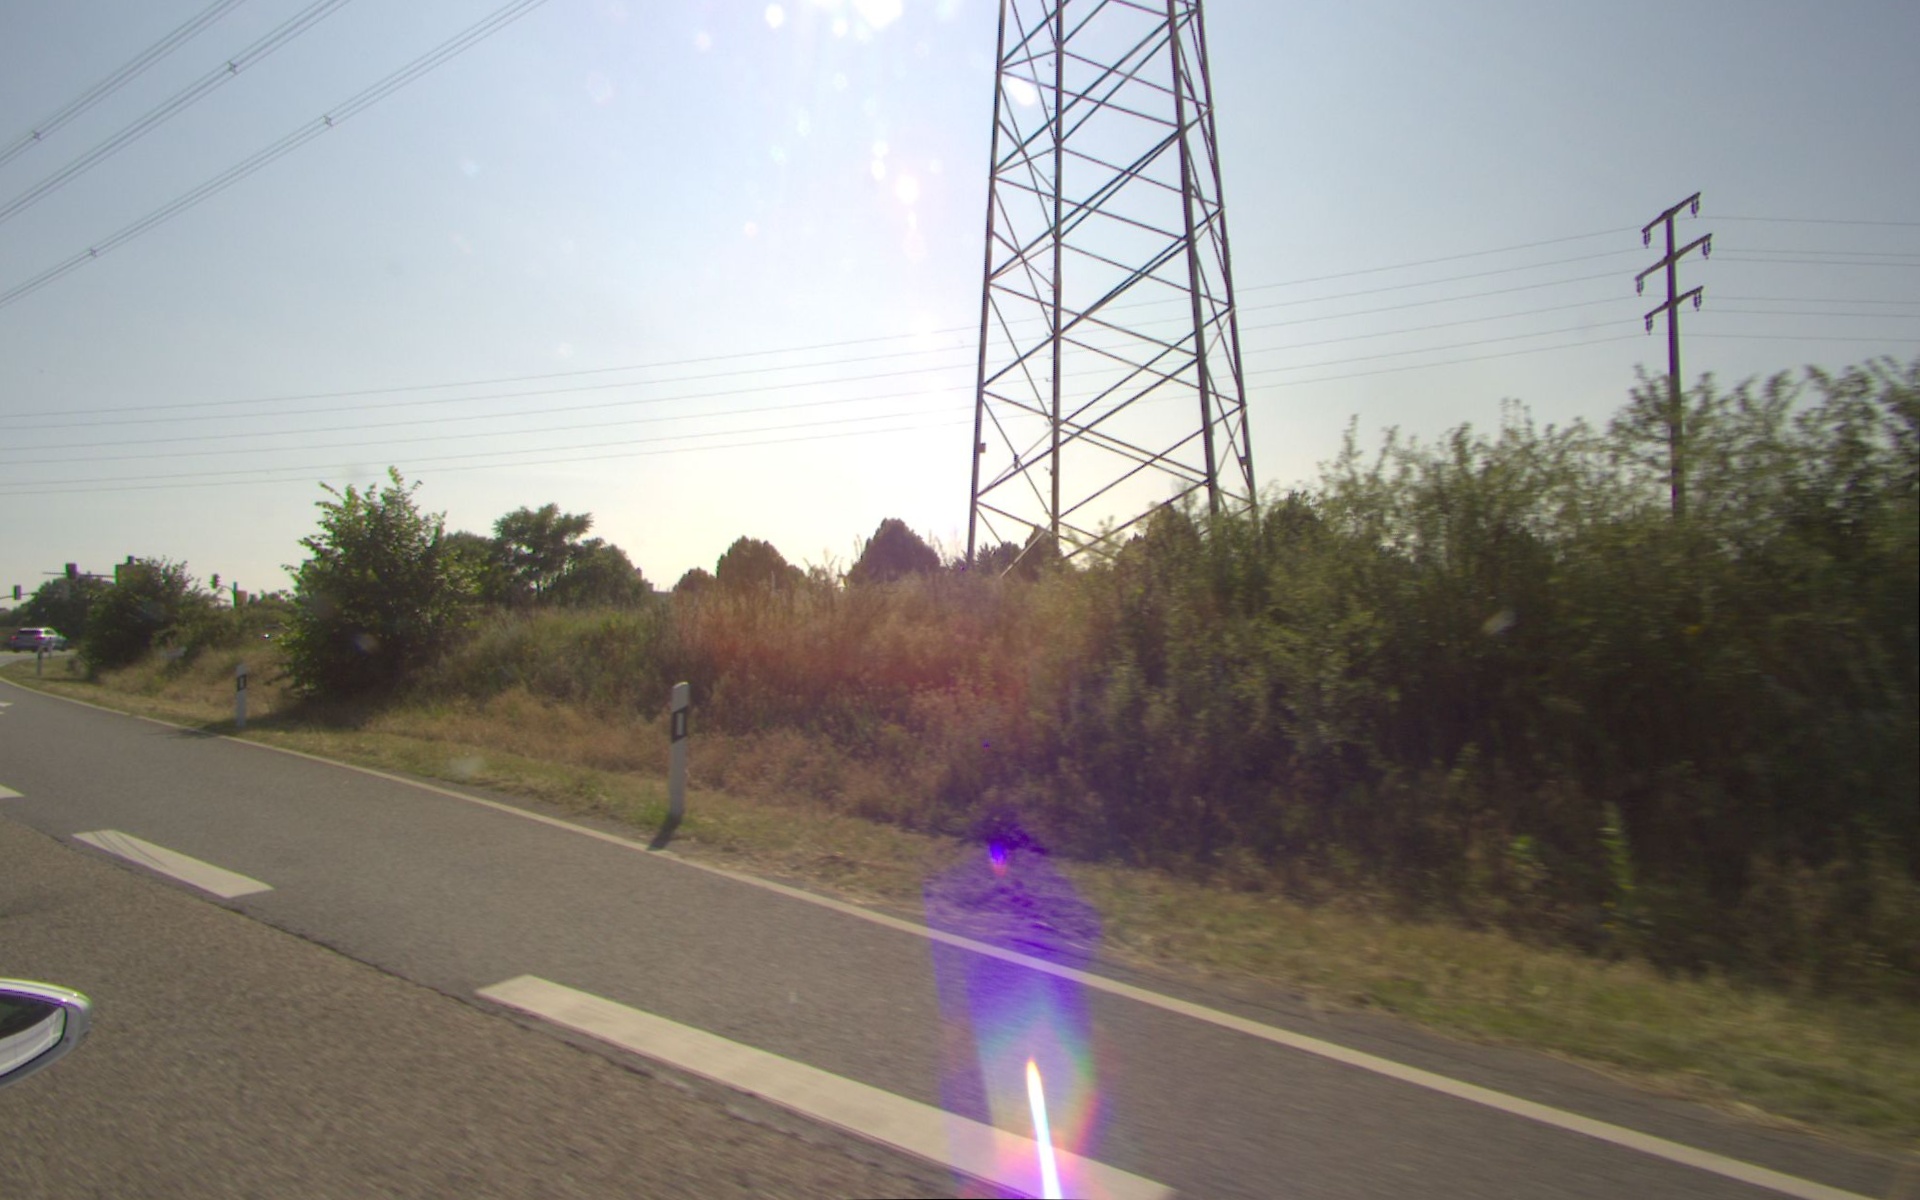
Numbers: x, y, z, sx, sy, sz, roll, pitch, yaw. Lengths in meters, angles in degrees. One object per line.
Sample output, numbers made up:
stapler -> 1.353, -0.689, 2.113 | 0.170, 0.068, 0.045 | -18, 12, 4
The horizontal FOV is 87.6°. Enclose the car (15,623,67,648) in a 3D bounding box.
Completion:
car -> -63.798, 2.458, 69.571 | 1.613, 1.698, 3.736 | 1, -2, -26

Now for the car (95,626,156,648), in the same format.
car -> -58.553, 2.571, 70.300 | 1.616, 1.404, 3.996 | -1, -1, -13
